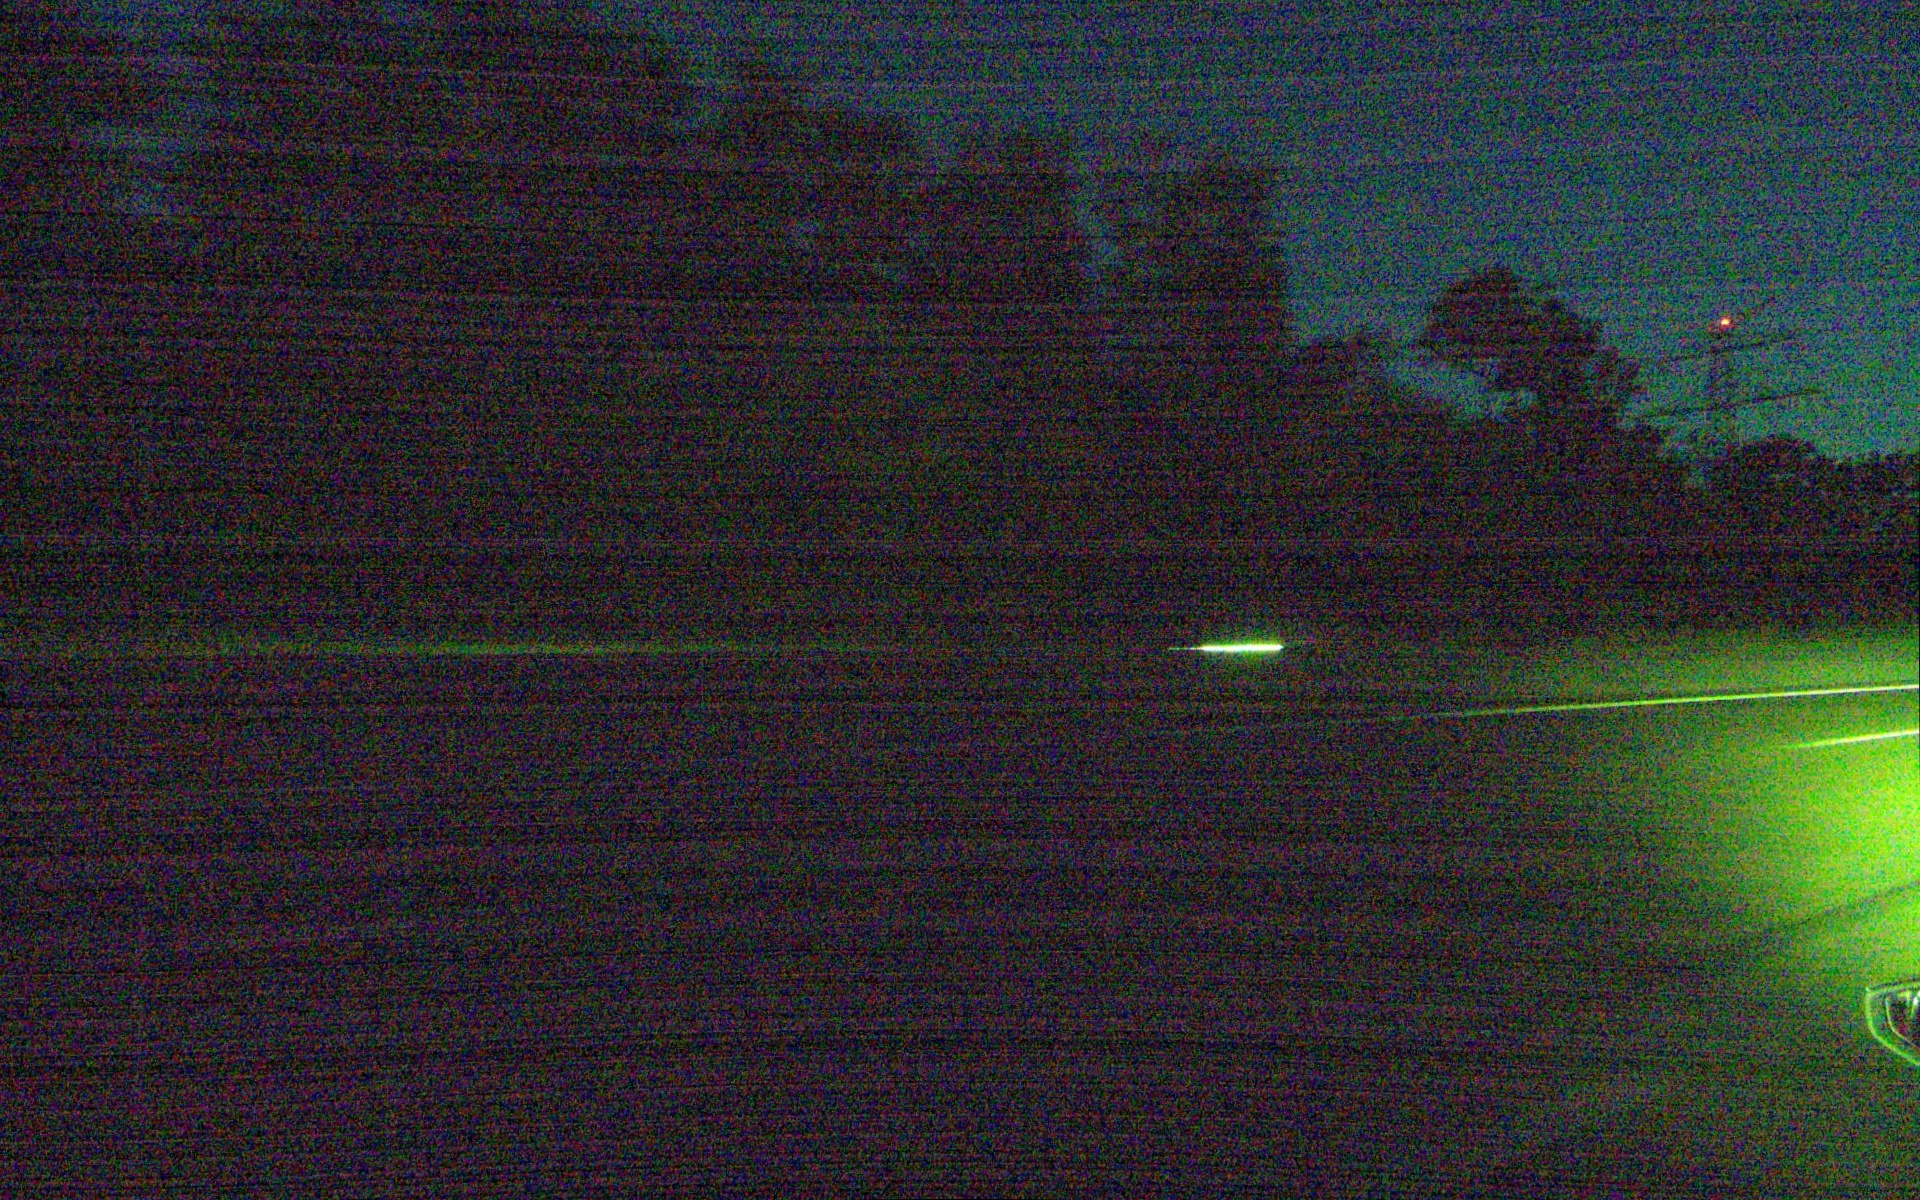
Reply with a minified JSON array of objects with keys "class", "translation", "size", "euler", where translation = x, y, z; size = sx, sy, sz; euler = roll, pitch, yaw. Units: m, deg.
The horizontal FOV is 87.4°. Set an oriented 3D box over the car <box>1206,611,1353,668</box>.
[{"class":"car","translation":[10.157,1.231,31.821],"size":[4.650,1.668,1.888],"euler":[1,-1,-32]}]
